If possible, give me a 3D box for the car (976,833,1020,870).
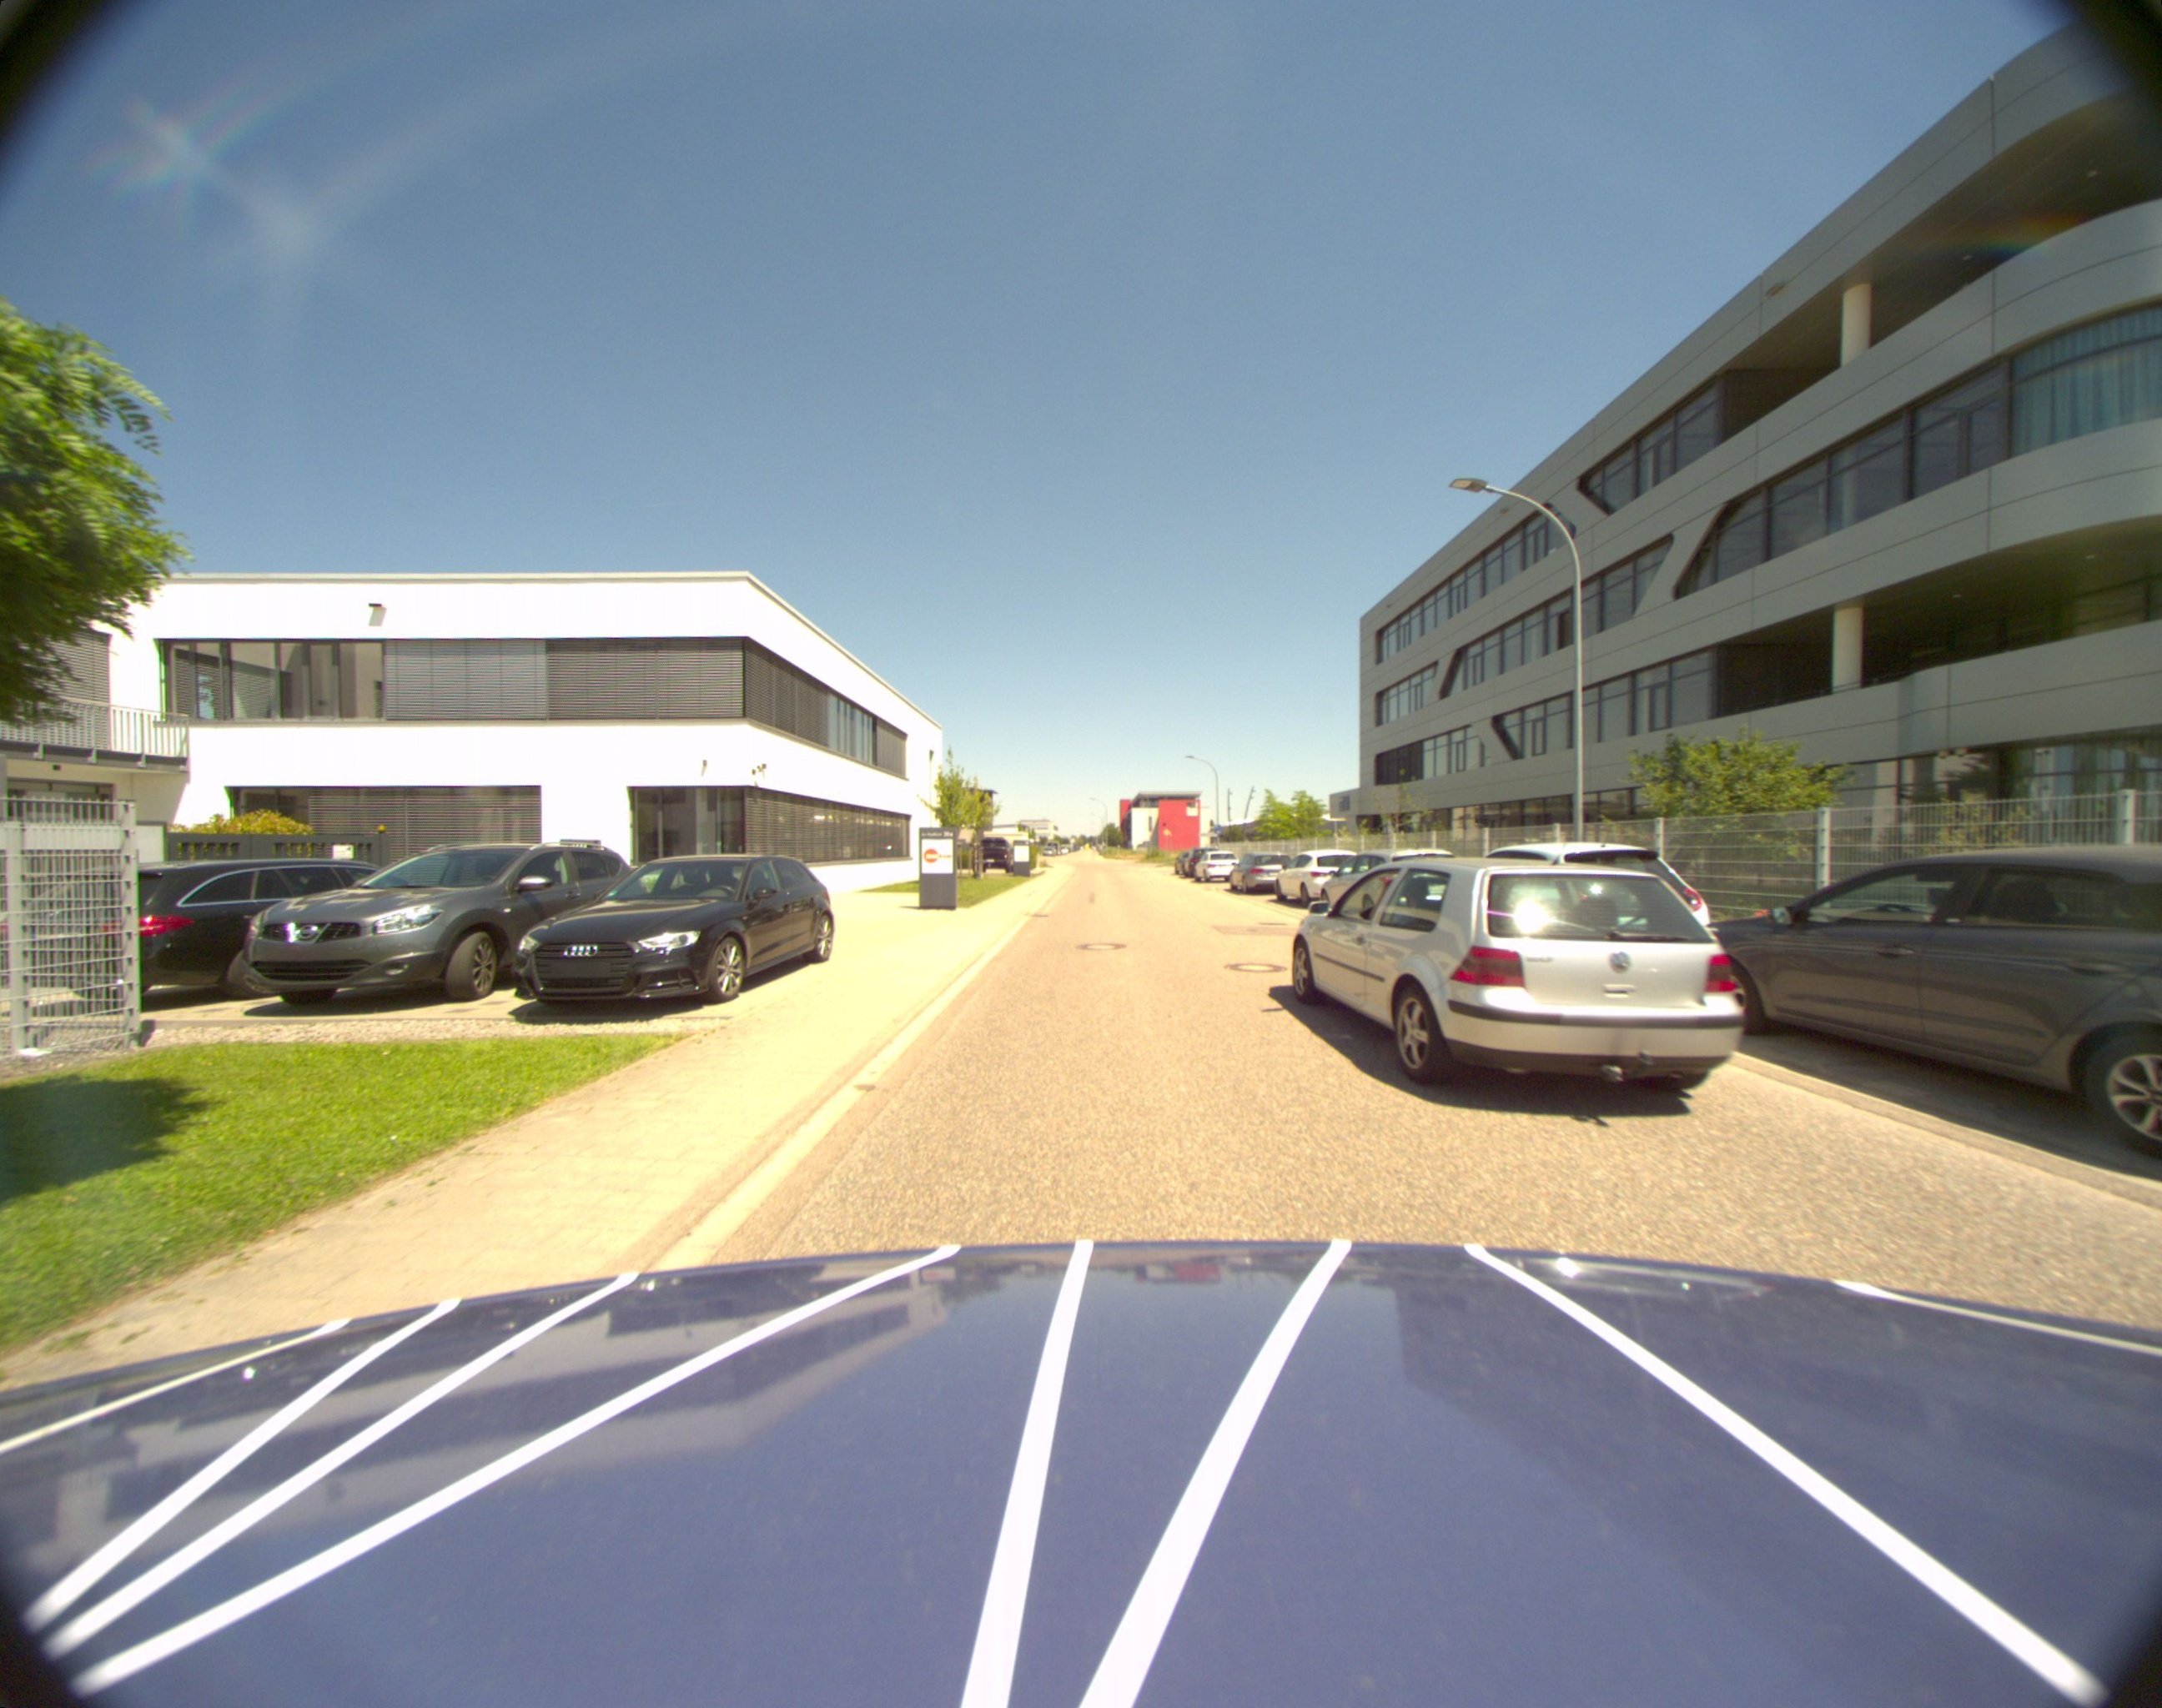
[{"bbox_3d":[-4.757,-0.058,44.282,1.999,2.001,5.801,0,-1,0],"label":"car"}]

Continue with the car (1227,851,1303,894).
[{"bbox_3d":[6.387,0.605,26.913,1.688,1.378,4.639,-1,0,2],"label":"car"}]

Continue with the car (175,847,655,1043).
[{"bbox_3d":[-6.813,0.767,8.497,1.727,1.624,4.022,-1,1,1],"label":"car"}]

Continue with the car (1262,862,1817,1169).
[{"bbox_3d":[2.913,0.857,6.287,1.708,1.403,4.783,2,1,1],"label":"car"}]

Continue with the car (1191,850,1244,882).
[{"bbox_3d":[6.360,0.520,35.803,1.704,1.378,3.936,-1,0,-2],"label":"car"}]

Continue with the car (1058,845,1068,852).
[{"bbox_3d":[-3.737,-1.134,158.563,1.828,1.269,3.885,0,1,2],"label":"car"}]

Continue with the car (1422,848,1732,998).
[{"bbox_3d":[6.052,0.714,9.839,1.639,1.527,3.657,-1,1,0],"label":"car"}]

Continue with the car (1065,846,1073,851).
[{"bbox_3d":[-3.182,-1.548,205.171,1.828,1.269,3.885,0,1,2],"label":"car"}]

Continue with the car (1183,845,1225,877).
[{"bbox_3d":[6.718,0.351,41.906,1.774,1.642,4.851,-1,0,3],"label":"car"}]

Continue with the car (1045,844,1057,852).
[{"bbox_3d":[-4.919,-1.041,125.375,1.828,1.269,3.885,0,1,2],"label":"car"}]

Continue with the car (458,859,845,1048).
[{"bbox_3d":[-4.135,0.820,8.272,1.696,1.420,4.245,-1,1,1],"label":"car"}]

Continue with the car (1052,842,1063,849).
[{"bbox_3d":[-4.377,-1.682,141.617,1.828,1.269,3.885,0,1,2],"label":"car"}]

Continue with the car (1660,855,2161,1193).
[{"bbox_3d":[5.906,0.804,4.747,1.638,1.492,3.971,-1,1,2],"label":"car"}]

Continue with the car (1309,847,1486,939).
[{"bbox_3d":[6.179,0.656,15.465,1.707,1.527,4.571,-1,1,0],"label":"car"}]

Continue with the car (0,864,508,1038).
[{"bbox_3d":[-9.138,0.912,8.881,1.727,1.441,4.022,-1,1,1],"label":"car"}]

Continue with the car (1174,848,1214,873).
[{"bbox_3d":[6.990,0.379,47.315,1.774,1.458,4.185,-1,0,-1],"label":"car"}]

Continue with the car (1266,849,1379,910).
[{"bbox_3d":[6.490,0.615,20.967,1.707,1.435,4.439,-1,1,0],"label":"car"}]
